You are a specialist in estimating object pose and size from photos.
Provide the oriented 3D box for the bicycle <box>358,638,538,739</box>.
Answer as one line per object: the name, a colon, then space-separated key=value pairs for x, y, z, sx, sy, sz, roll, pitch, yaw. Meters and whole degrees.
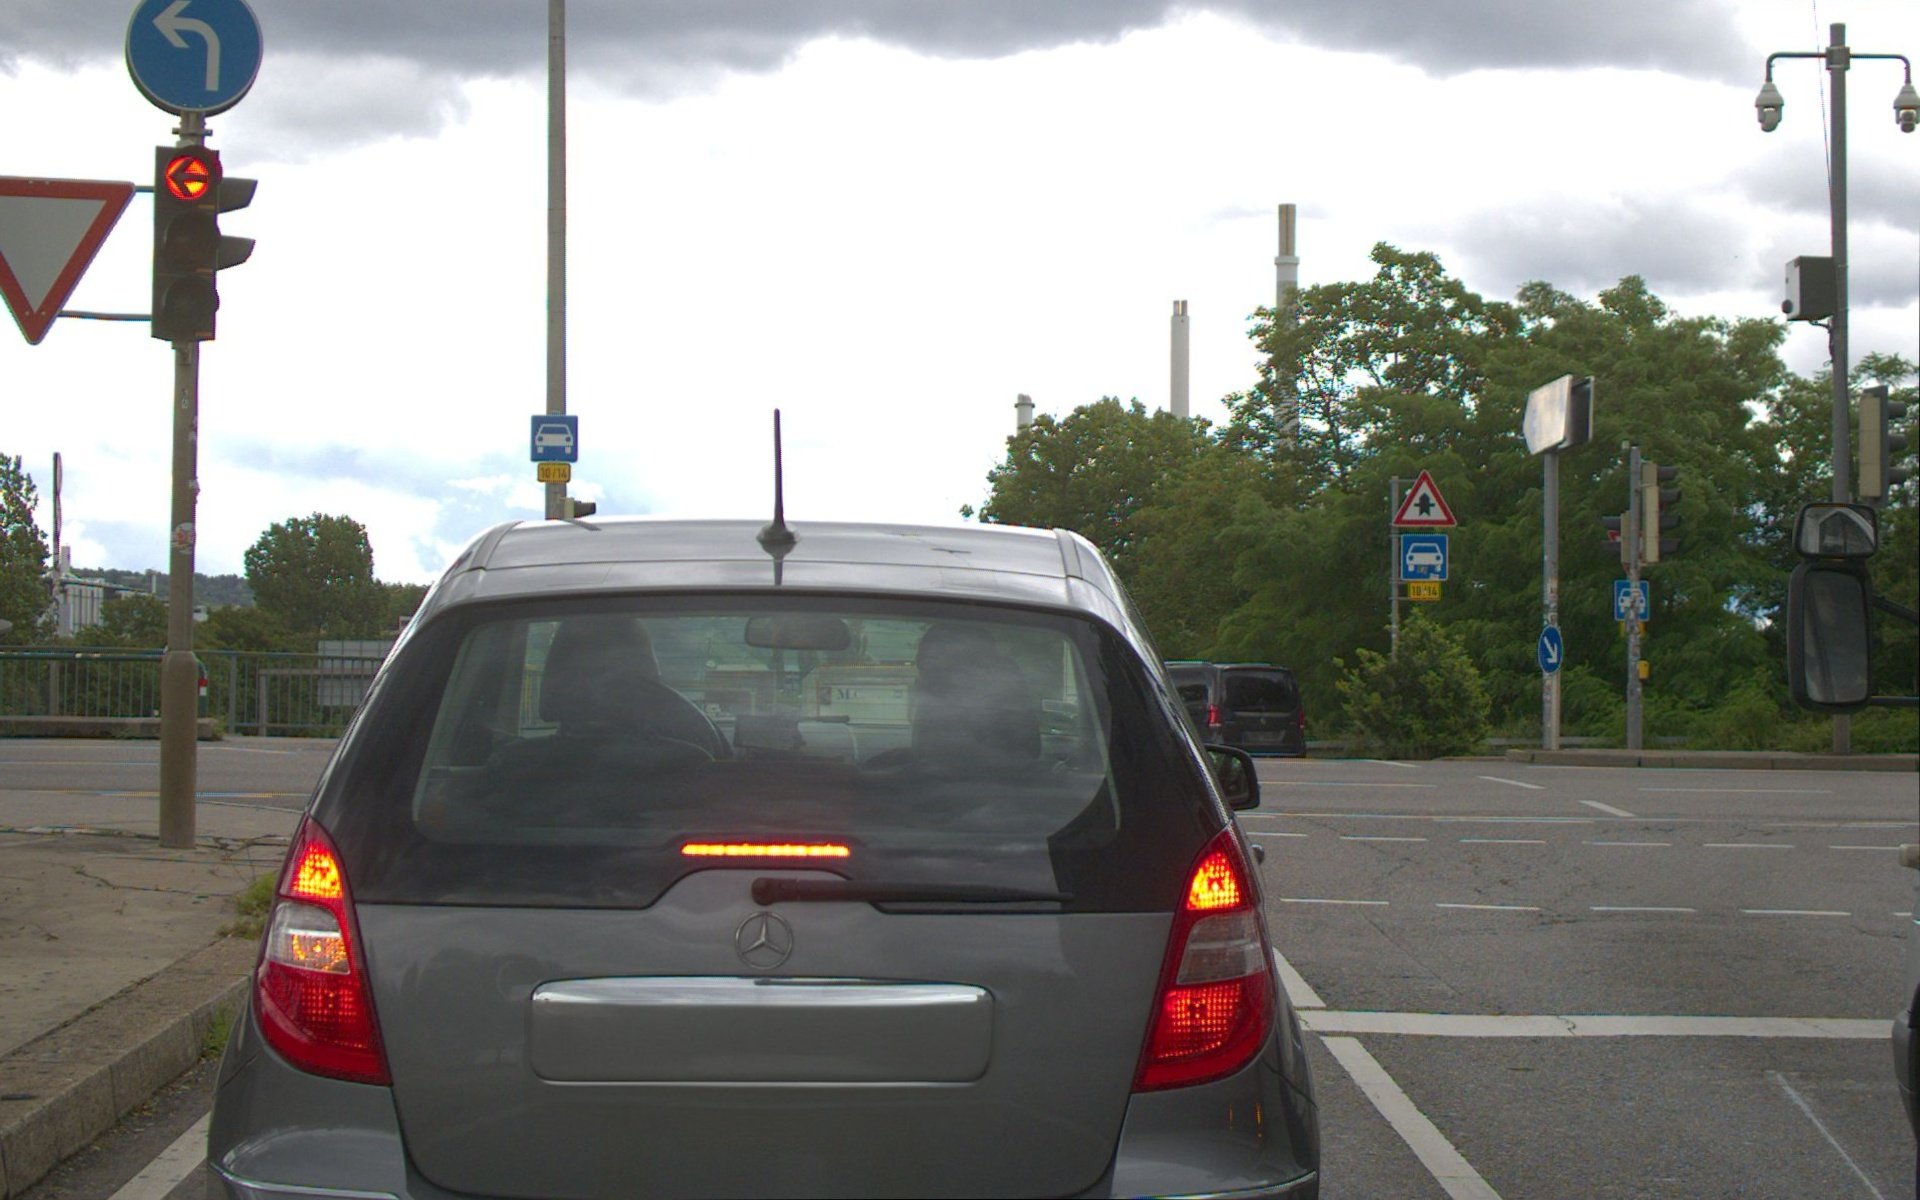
bicycle: x=-5.967 y=1.019 z=40.051 sx=2.032 sy=1.121 sz=0.929 roll=0 pitch=1 yaw=-11

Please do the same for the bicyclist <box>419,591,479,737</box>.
bicyclist: x=-5.955 y=0.734 z=40.059 sx=0.653 sy=1.668 sz=0.870 roll=0 pitch=1 yaw=-11

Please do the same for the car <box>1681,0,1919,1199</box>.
car: x=2.910 y=-0.110 z=3.845 sx=2.659 sy=3.318 sz=7.091 roll=0 pitch=0 yaw=0

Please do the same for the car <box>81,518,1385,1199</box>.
car: x=-0.274 y=0.638 z=6.901 sx=1.858 sy=1.583 sz=4.000 roll=0 pitch=2 yaw=2

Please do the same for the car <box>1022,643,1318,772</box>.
car: x=3.303 y=1.677 z=55.297 sx=1.998 sy=1.765 sz=5.240 roll=-1 pitch=2 yaw=-33
